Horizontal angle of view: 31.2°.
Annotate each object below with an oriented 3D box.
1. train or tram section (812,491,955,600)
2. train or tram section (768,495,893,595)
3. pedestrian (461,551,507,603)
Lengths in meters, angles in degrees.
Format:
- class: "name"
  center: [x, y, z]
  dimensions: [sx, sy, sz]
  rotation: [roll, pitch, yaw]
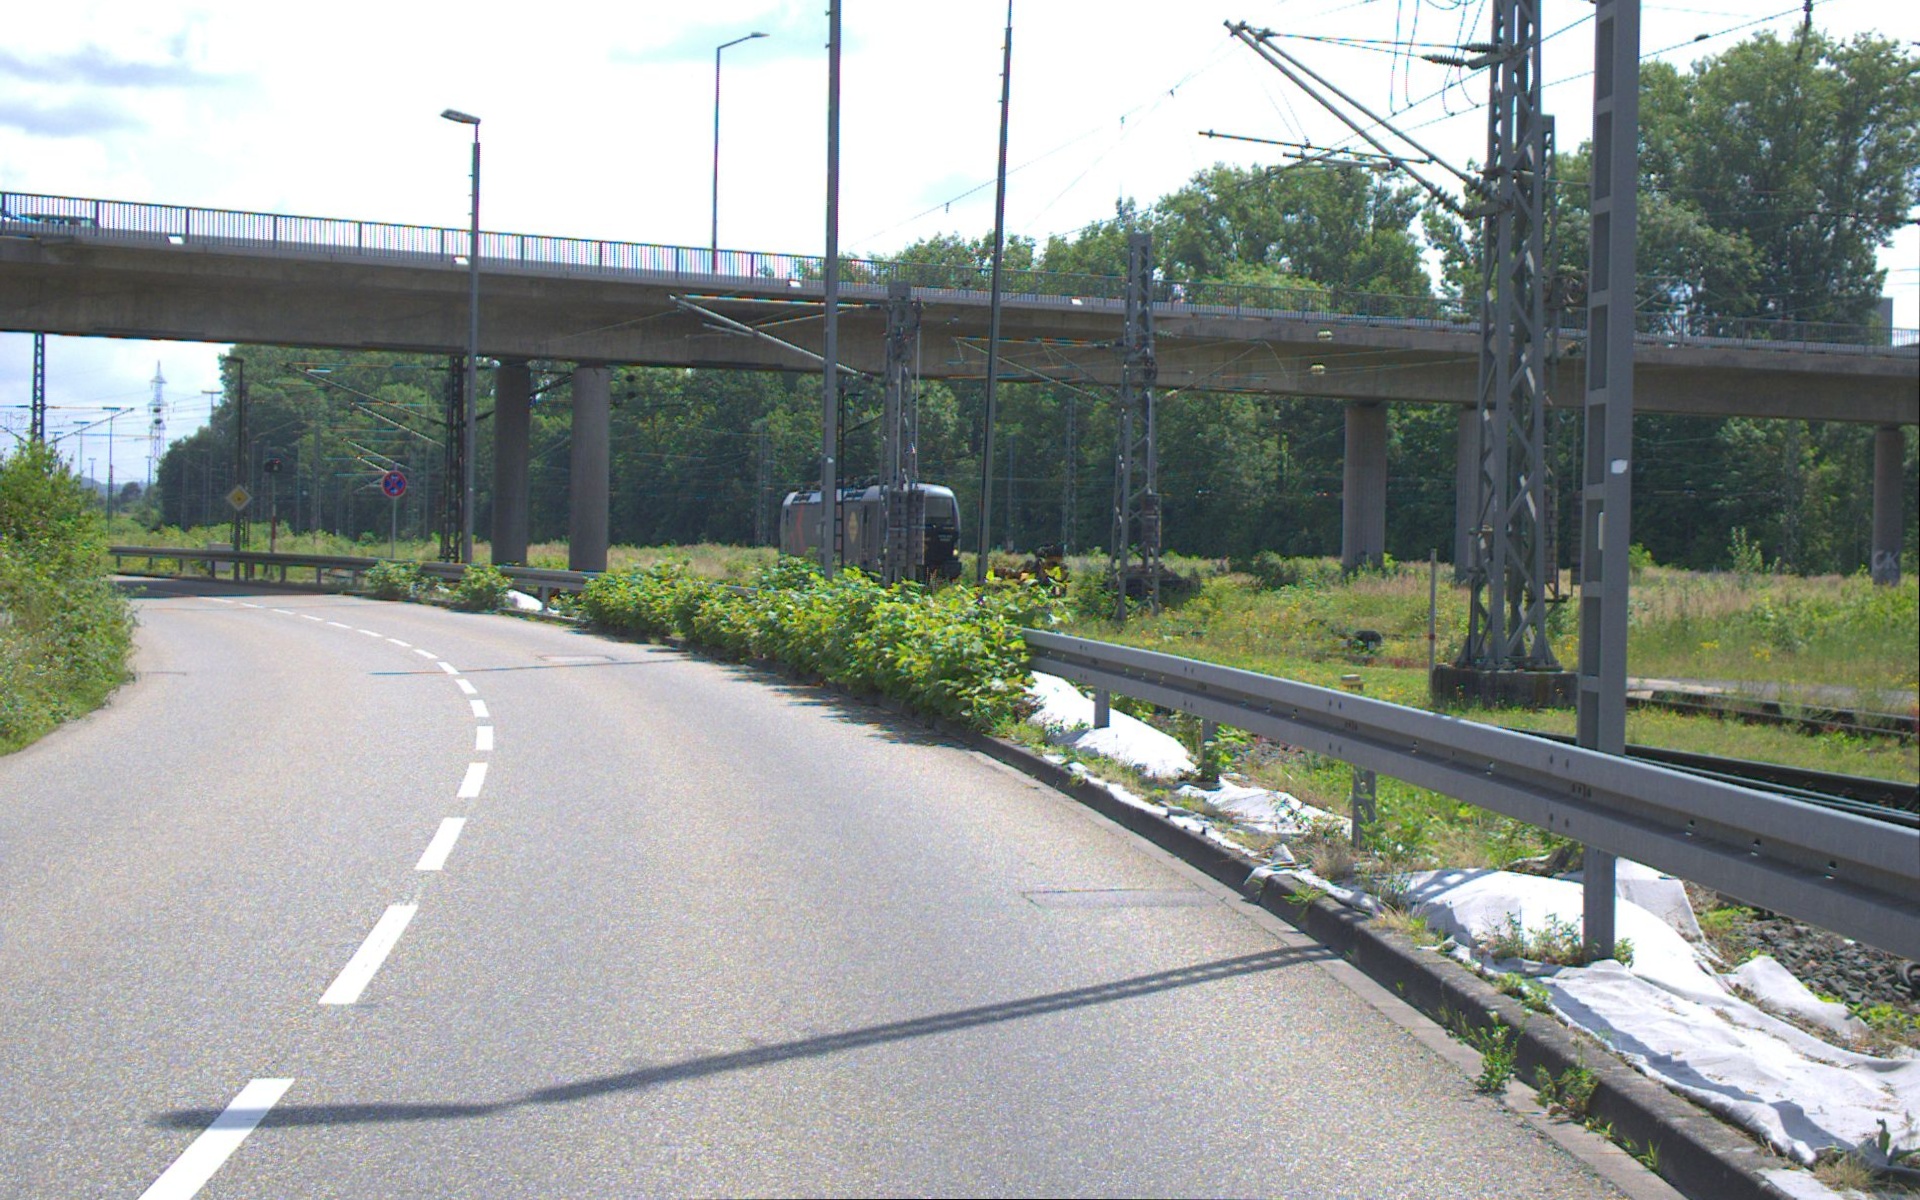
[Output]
- class: "train or tram section"
  center: [-2.666, -1.818, 116.577]
  dimensions: [2.889, 3.497, 8.568]
  rotation: [1, 0, -15]
- class: "train or tram section"
  center: [-4.779, -1.980, 124.782]
  dimensions: [2.755, 3.465, 8.241]
  rotation: [1, 0, -15]
- class: "pedestrian"
  center: [-14.274, -0.698, 103.077]
  dimensions: [1.110, 1.534, 1.580]
  rotation: [1, 0, -18]
